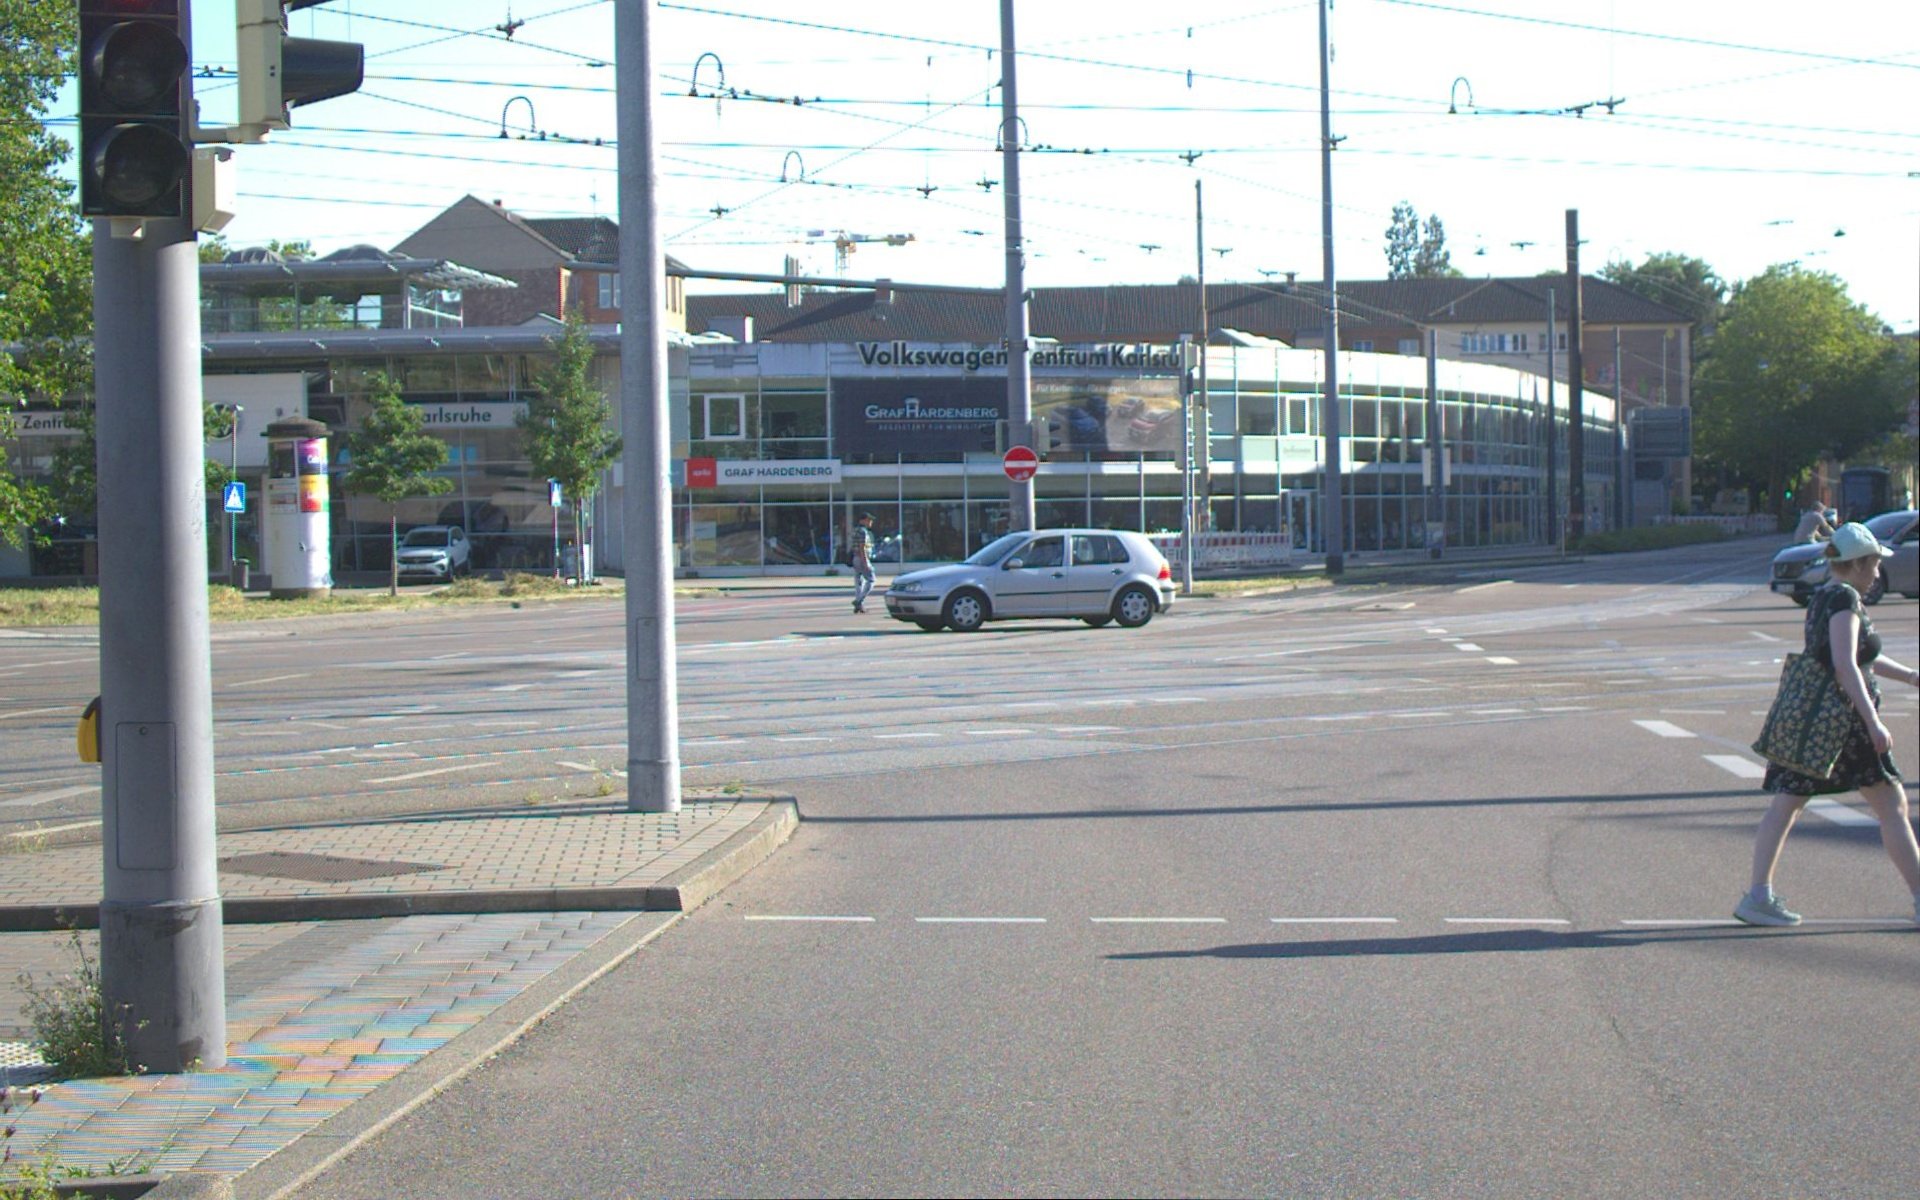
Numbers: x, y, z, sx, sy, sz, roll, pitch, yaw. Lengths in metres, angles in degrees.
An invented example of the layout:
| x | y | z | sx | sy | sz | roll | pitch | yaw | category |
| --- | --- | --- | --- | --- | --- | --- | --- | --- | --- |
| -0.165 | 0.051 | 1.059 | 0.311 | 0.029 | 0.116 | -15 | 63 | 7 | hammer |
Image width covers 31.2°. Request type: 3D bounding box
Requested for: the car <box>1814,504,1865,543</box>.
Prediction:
| x | y | z | sx | sy | sz | roll | pitch | yaw | category |
| --- | --- | --- | --- | --- | --- | --- | --- | --- | --- |
| 41.230 | -3.596 | 161.109 | 1.803 | 1.650 | 3.914 | 1 | 3 | 21 | car |

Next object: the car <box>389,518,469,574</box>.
| x | y | z | sx | sy | sz | roll | pitch | yaw | category |
| --- | --- | --- | --- | --- | --- | --- | --- | --- | --- |
| -15.977 | -1.634 | 103.562 | 1.993 | 1.529 | 4.001 | 0 | 3 | -3 | car |

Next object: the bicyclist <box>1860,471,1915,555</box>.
| x | y | z | sx | sy | sz | roll | pitch | yaw | category |
| --- | --- | --- | --- | --- | --- | --- | --- | --- | --- |
| 21.610 | -2.034 | 80.083 | 1.120 | 1.894 | 1.073 | 1 | 3 | 20 | bicyclist |

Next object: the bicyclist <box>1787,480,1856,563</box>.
| x | y | z | sx | sy | sz | roll | pitch | yaw | category |
| --- | --- | --- | --- | --- | --- | --- | --- | --- | --- |
| 16.410 | -1.500 | 65.504 | 0.923 | 1.554 | 0.860 | -1 | 3 | -20 | bicyclist |

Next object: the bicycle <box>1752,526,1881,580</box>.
| x | y | z | sx | sy | sz | roll | pitch | yaw | category |
| --- | --- | --- | --- | --- | --- | --- | --- | --- | --- |
| 16.317 | -0.896 | 65.503 | 2.295 | 0.976 | 0.860 | -1 | 3 | -21 | bicycle |

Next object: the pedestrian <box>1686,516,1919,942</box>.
| x | y | z | sx | sy | sz | roll | pitch | yaw | category |
| --- | --- | --- | --- | --- | --- | --- | --- | --- | --- |
| 3.501 | 0.482 | 13.467 | 1.092 | 1.601 | 0.699 | 0 | 3 | -8 | pedestrian |

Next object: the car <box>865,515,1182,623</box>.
| x | y | z | sx | sy | sz | roll | pitch | yaw | category |
| --- | --- | --- | --- | --- | --- | --- | --- | --- | --- |
| 0.888 | -0.459 | 49.008 | 4.093 | 1.447 | 1.954 | -1 | 1 | -17 | car |

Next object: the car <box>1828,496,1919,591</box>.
| x | y | z | sx | sy | sz | roll | pitch | yaw | category |
| --- | --- | --- | --- | --- | --- | --- | --- | --- | --- |
| 17.353 | -0.991 | 59.025 | 4.606 | 1.588 | 1.952 | 0 | 1 | 18 | car |

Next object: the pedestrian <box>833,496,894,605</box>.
| x | y | z | sx | sy | sz | roll | pitch | yaw | category |
| --- | --- | --- | --- | --- | --- | --- | --- | --- | --- |
| -1.628 | -0.847 | 58.146 | 0.989 | 1.810 | 0.920 | 0 | 3 | 1 | pedestrian |

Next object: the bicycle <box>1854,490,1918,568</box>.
| x | y | z | sx | sy | sz | roll | pitch | yaw | category |
| --- | --- | --- | --- | --- | --- | --- | --- | --- | --- |
| 21.598 | -1.680 | 80.115 | 1.136 | 1.684 | 3.997 | 1 | 3 | 19 | bicycle |

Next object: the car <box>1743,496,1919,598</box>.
| x | y | z | sx | sy | sz | roll | pitch | yaw | category |
| --- | --- | --- | --- | --- | --- | --- | --- | --- | --- |
| 14.647 | -0.849 | 53.288 | 4.543 | 1.512 | 1.954 | -1 | 1 | -19 | car |
